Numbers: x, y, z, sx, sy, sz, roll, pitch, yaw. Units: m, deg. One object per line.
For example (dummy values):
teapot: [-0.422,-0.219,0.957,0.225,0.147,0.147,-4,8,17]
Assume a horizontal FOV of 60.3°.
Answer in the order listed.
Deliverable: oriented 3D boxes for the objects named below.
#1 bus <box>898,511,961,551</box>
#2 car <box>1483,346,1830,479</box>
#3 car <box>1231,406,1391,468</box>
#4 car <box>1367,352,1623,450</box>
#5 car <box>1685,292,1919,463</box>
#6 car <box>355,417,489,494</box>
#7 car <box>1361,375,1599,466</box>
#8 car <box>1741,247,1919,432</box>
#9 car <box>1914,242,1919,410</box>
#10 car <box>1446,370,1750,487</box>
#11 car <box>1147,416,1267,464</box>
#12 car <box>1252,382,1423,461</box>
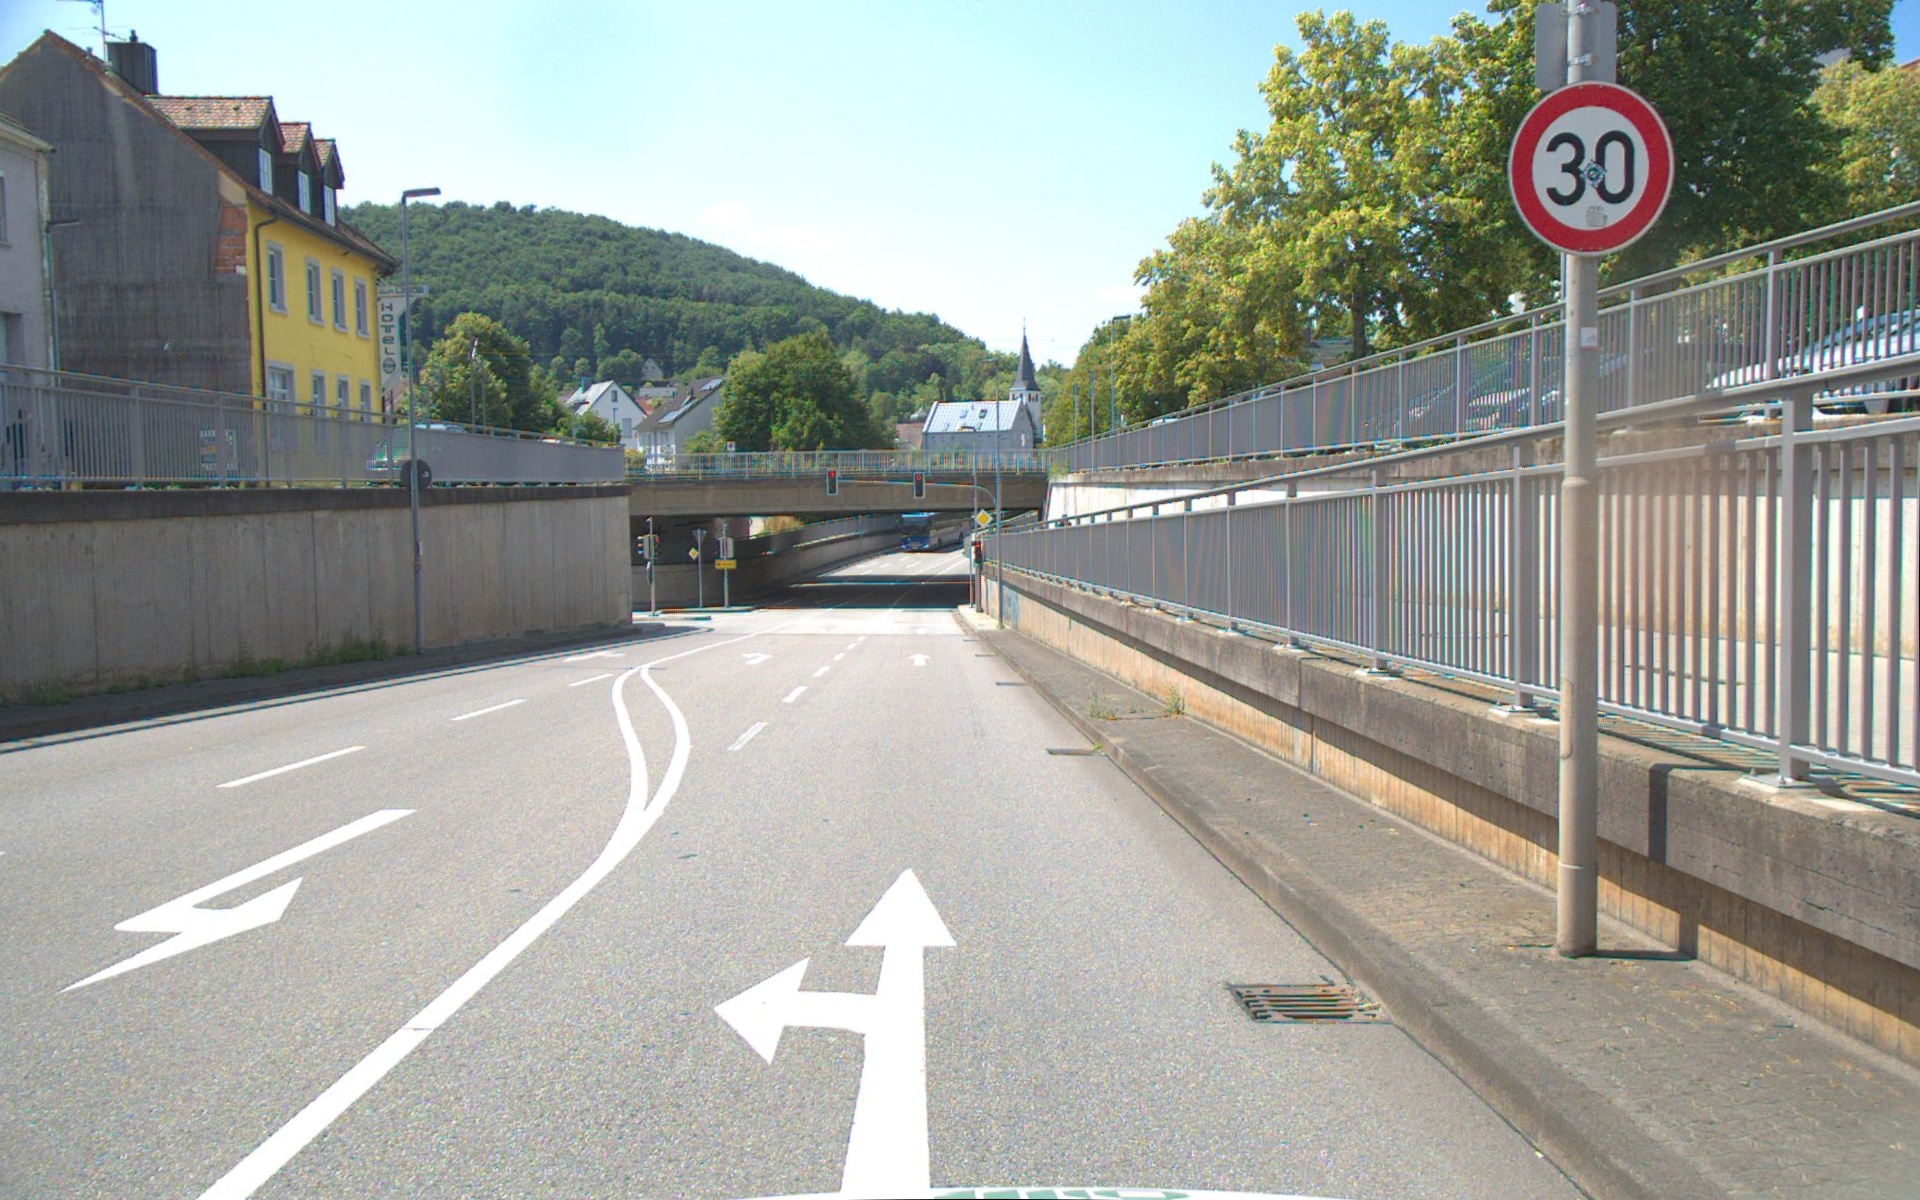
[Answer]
bus: [-2.454,-5.864,139.336,2.526,3.227,12.391,0,3,12]
car: [9.173,-2.457,22.014,3.904,1.583,1.725,0,1,1]
car: [9.313,-4.332,44.098,3.904,1.512,1.770,0,1,2]
car: [9.254,-3.435,28.836,3.904,1.512,1.770,0,1,2]
car: [9.919,-2.287,17.319,3.904,1.583,1.725,0,1,1]
car: [-11.976,-3.197,37.100,1.763,1.551,4.392,-1,3,-3]
car: [9.623,-3.325,30.822,3.904,1.512,1.770,0,1,2]
car: [9.282,-2.264,14.637,3.904,1.452,1.725,0,3,1]
car: [9.632,-2.245,12.427,3.906,1.329,1.772,-2,1,-1]
car: [9.469,-2.541,24.756,3.904,1.583,1.725,0,1,1]
car: [8.442,-5.481,56.764,3.904,1.512,1.770,0,1,2]
car: [9.370,-4.425,41.281,3.904,1.801,1.770,0,1,2]
